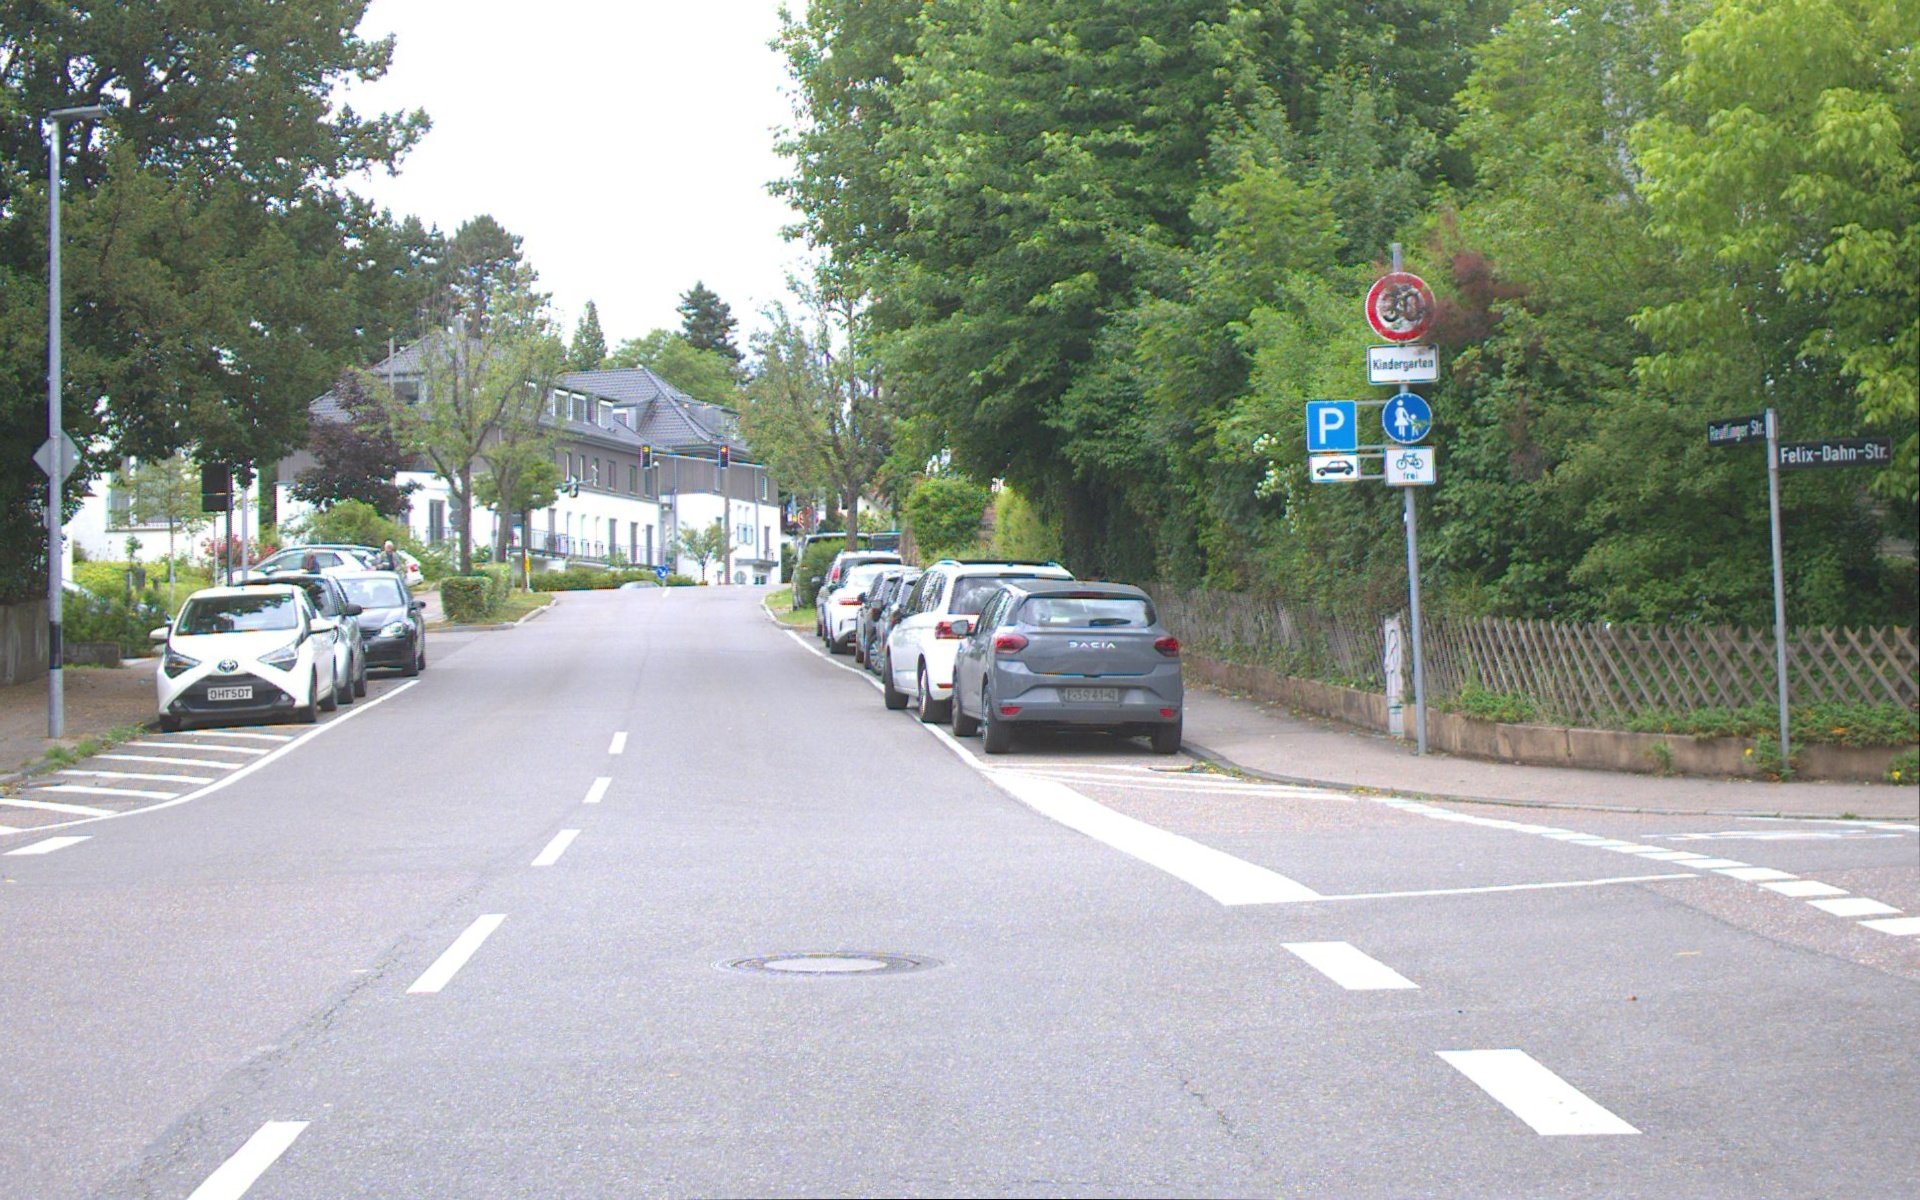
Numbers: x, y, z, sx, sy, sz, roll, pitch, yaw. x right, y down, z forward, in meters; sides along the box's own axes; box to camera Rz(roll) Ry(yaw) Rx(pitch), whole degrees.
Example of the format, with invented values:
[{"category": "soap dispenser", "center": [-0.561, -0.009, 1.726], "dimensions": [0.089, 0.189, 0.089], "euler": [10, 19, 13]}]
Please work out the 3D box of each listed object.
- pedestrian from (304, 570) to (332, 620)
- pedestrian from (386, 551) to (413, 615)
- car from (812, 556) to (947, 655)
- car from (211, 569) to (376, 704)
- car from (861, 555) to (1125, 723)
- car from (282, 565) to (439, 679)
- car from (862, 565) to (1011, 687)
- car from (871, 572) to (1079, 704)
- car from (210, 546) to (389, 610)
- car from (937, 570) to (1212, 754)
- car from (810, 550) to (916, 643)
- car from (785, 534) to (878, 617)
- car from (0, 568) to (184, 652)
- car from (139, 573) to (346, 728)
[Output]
[{"category": "pedestrian", "center": [-16.410, -0.130, 87.848], "dimensions": [0.607, 1.279, 0.900], "euler": [1, 1, -5]}, {"category": "pedestrian", "center": [-14.511, -0.453, 89.080], "dimensions": [0.593, 1.635, 0.565], "euler": [-1, 1, -3]}, {"category": "car", "center": [-1.380, 0.053, 57.031], "dimensions": [1.993, 1.486, 5.005], "euler": [-1, 1, -4]}, {"category": "car", "center": [-7.939, 0.405, 41.131], "dimensions": [1.623, 1.513, 2.976], "euler": [-1, 1, -5]}, {"category": "car", "center": [0.269, 0.355, 36.669], "dimensions": [2.000, 1.603, 4.760], "euler": [-2, 1, -9]}, {"category": "car", "center": [-8.474, 0.271, 48.921], "dimensions": [1.850, 1.464, 4.684], "euler": [-1, 1, -6]}, {"category": "car", "center": [-0.363, 0.316, 46.297], "dimensions": [1.697, 1.503, 4.161], "euler": [1, 1, -4]}, {"category": "car", "center": [0.120, 0.412, 41.344], "dimensions": [1.809, 1.447, 4.380], "euler": [-1, 1, -9]}, {"category": "car", "center": [-17.227, -0.584, 89.866], "dimensions": [4.385, 1.561, 2.067], "euler": [-1, 1, -6]}, {"category": "car", "center": [0.975, 0.511, 31.764], "dimensions": [1.937, 1.486, 4.457], "euler": [-2, 1, -6]}, {"category": "car", "center": [-1.808, -0.084, 63.057], "dimensions": [1.716, 1.627, 3.929], "euler": [1, 1, -4]}, {"category": "car", "center": [-3.015, -0.580, 79.581], "dimensions": [1.936, 1.831, 5.220], "euler": [-1, 1, -4]}, {"category": "car", "center": [-15.031, 0.162, 57.743], "dimensions": [3.793, 1.349, 1.742], "euler": [-1, 1, -10]}, {"category": "car", "center": [-7.630, 0.501, 36.816], "dimensions": [1.744, 1.443, 3.514], "euler": [-2, 2, -5]}]
